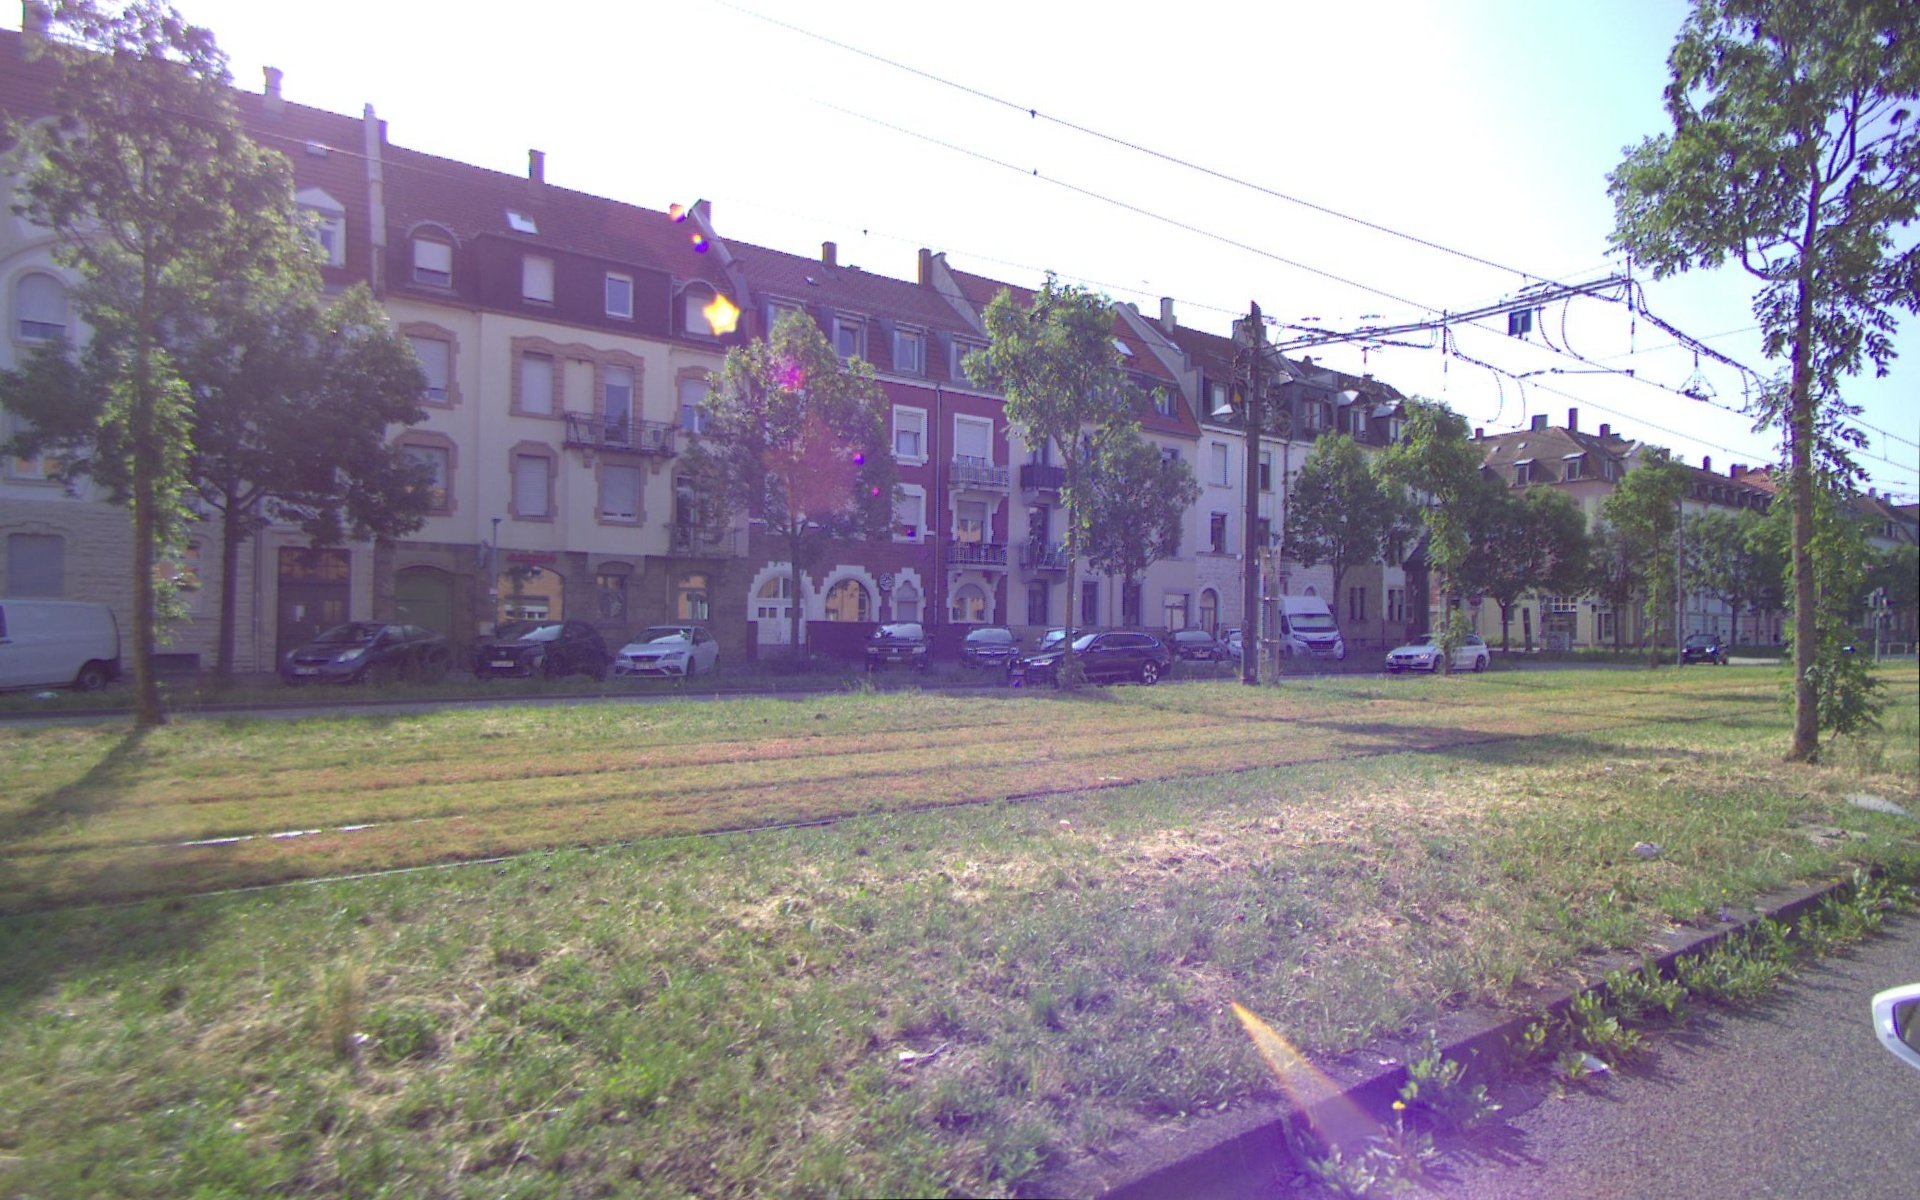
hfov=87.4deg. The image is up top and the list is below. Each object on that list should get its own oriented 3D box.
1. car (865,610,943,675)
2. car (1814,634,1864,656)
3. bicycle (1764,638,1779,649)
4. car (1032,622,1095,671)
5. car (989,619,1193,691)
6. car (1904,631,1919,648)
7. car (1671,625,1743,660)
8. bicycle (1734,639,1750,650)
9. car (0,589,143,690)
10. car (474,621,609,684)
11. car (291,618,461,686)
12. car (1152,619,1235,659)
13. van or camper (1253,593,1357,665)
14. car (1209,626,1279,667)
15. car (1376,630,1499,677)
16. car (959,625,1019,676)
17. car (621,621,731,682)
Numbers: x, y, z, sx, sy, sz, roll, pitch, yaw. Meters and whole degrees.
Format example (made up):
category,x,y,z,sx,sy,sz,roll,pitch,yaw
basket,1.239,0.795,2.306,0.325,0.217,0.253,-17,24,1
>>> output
category,x,y,z,sx,sy,sz,roll,pitch,yaw
car,-1.743,1.212,29.619,1.800,1.766,4.641,1,-1,-9
car,62.441,3.210,71.372,3.887,1.452,1.800,2,0,-35
bicycle,67.970,3.652,84.135,1.929,0.868,0.444,2,0,-36
car,3.314,1.464,32.854,1.629,1.334,4.015,2,0,0
car,3.533,1.437,26.570,5.323,1.652,1.982,2,0,-33
car,96.519,3.980,100.595,4.729,1.650,1.979,2,1,-36
car,38.613,2.181,51.900,3.959,1.677,1.753,2,0,-34
bicycle,62.457,3.543,80.212,1.929,0.799,0.434,2,0,-36
car,-17.968,0.693,18.434,1.820,1.749,4.952,2,0,0
car,-9.786,1.178,23.774,1.629,1.258,3.687,-1,0,0
car,-12.402,1.050,21.615,1.496,1.258,3.687,0,0,0
car,8.591,1.398,37.301,1.633,1.258,3.679,2,0,-11
van or camper,13.852,1.090,40.807,2.156,2.608,5.926,2,0,0
car,10.922,1.751,38.832,1.629,1.349,3.687,2,0,0
car,17.241,1.916,36.184,4.601,1.479,1.935,2,0,-35
car,0.829,1.449,29.854,1.629,1.258,3.687,2,0,0
car,-7.010,1.229,25.111,1.629,1.258,3.687,2,0,0
